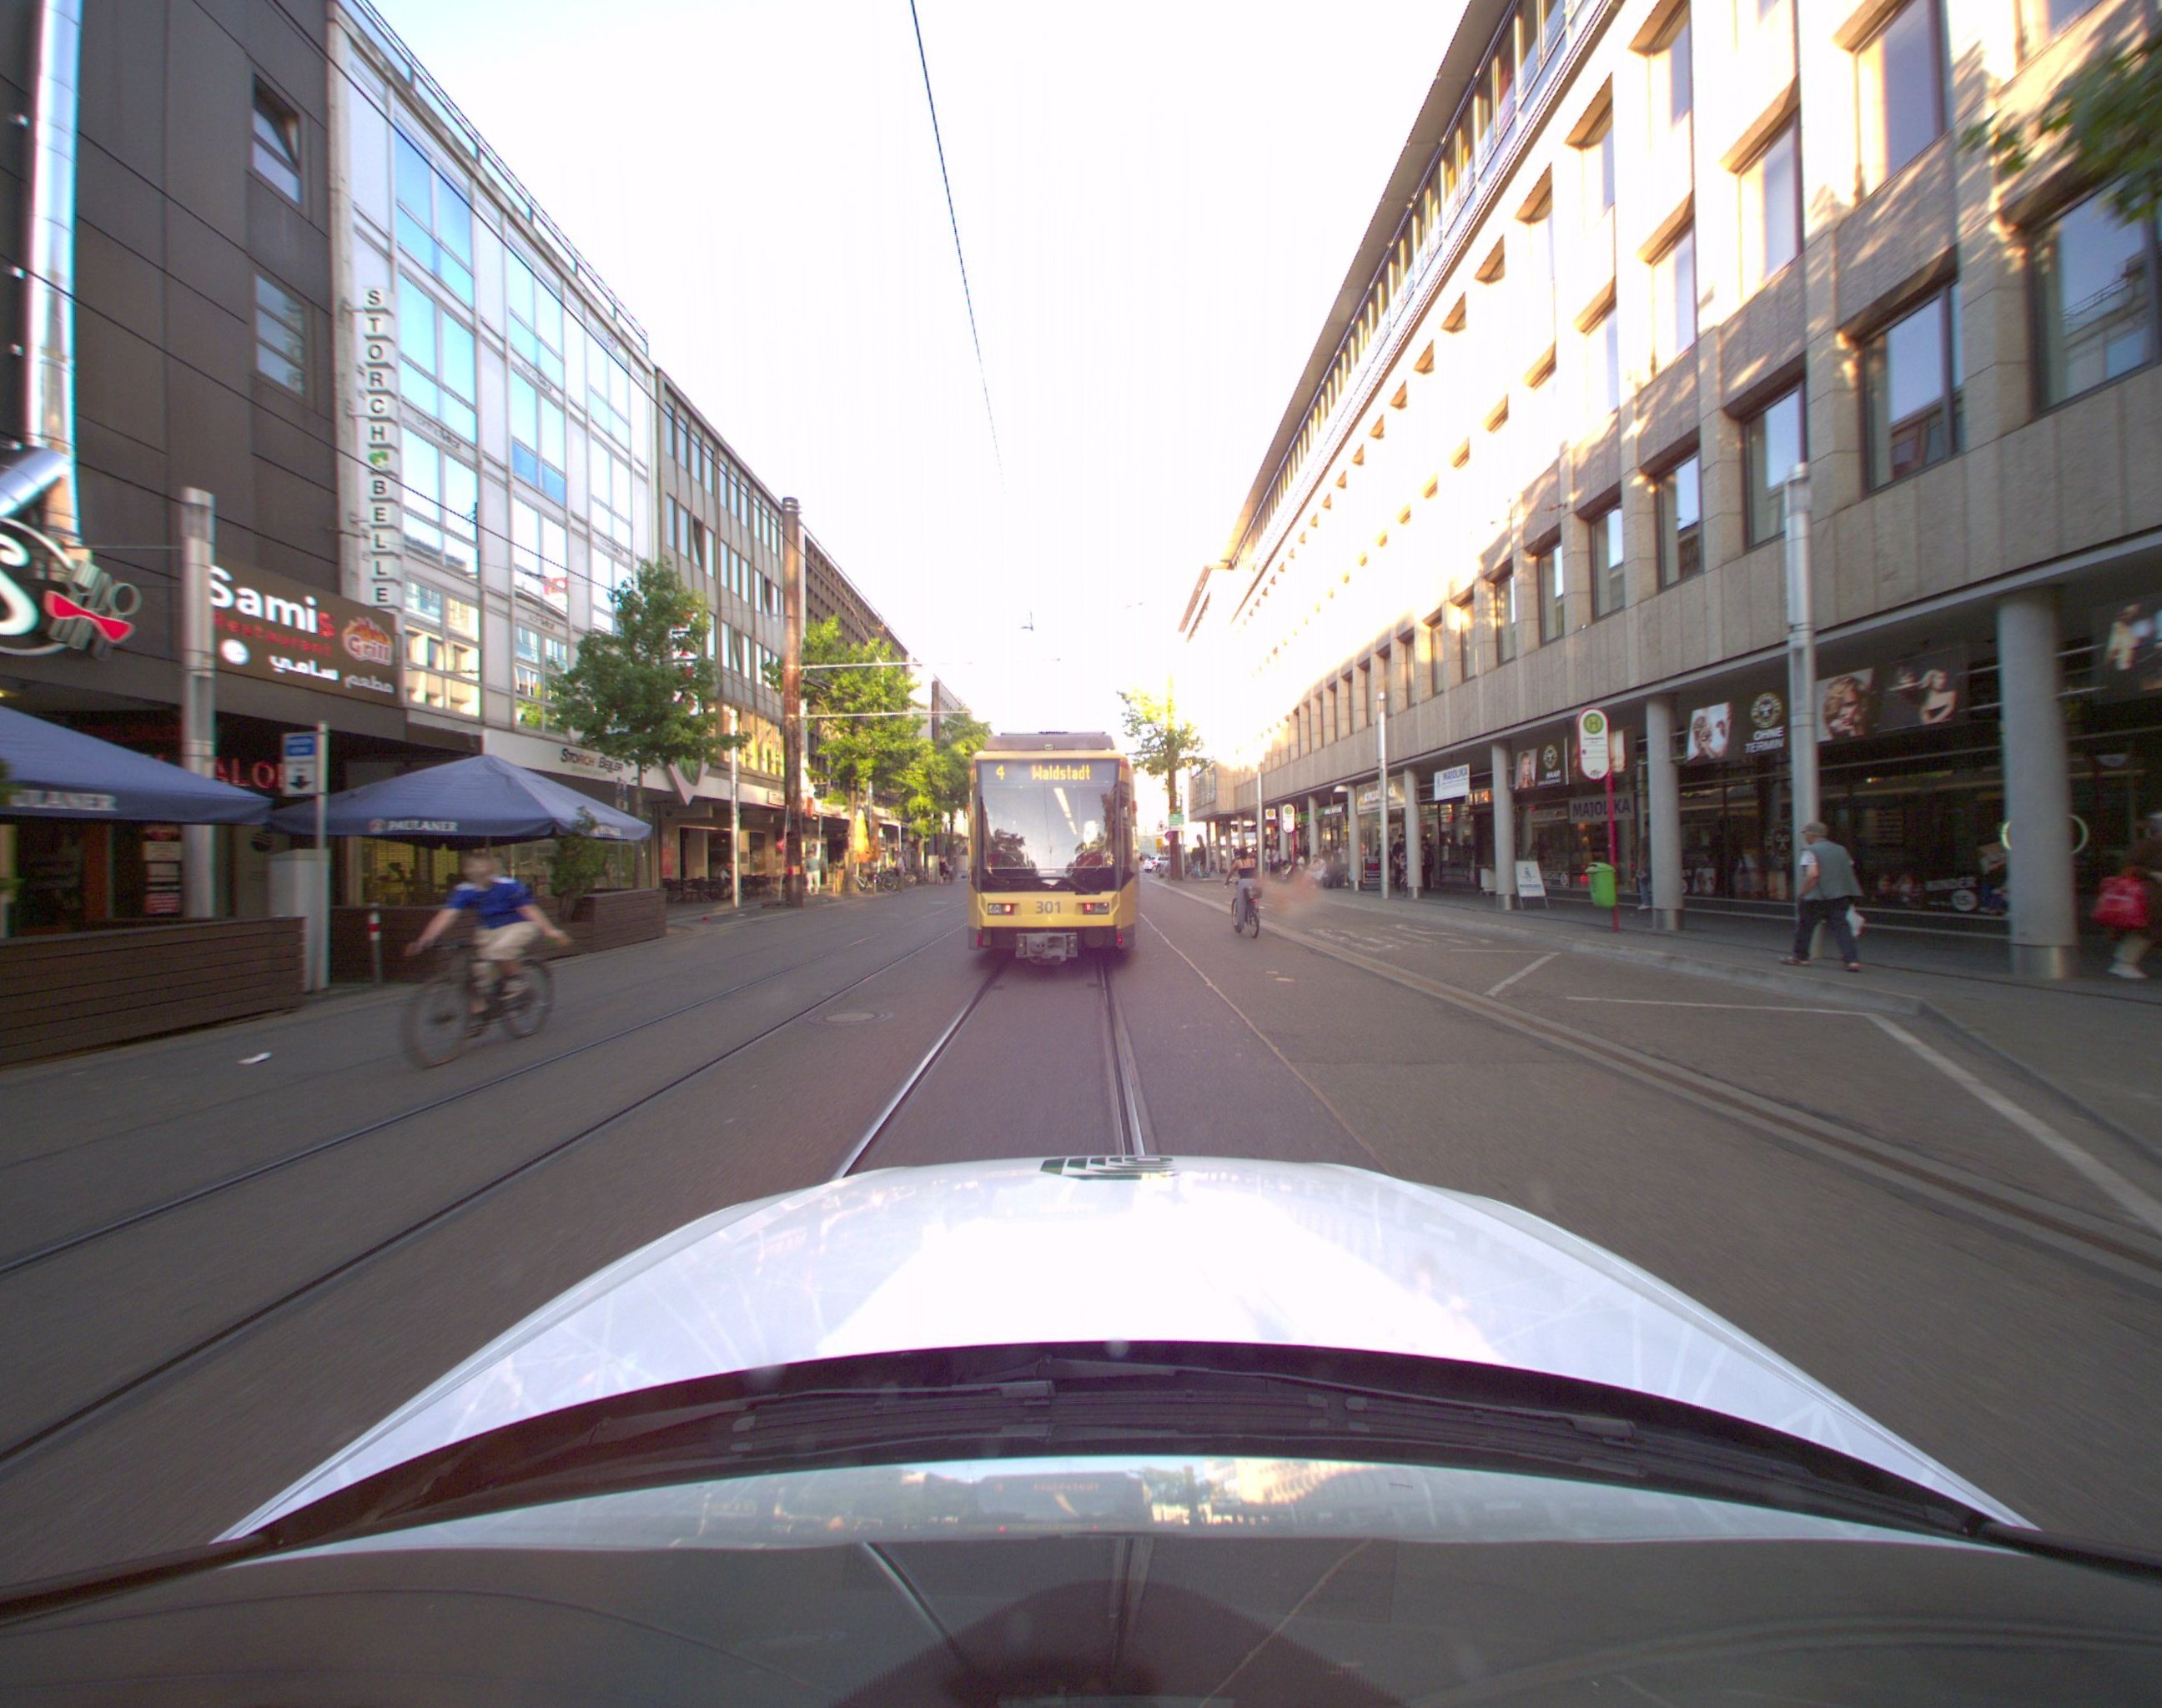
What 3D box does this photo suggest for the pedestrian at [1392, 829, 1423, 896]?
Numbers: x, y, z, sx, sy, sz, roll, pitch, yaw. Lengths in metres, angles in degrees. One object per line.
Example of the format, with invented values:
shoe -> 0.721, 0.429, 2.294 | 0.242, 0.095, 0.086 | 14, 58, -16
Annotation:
pedestrian -> 9.680, 0.250, 24.164 | 0.576, 1.944, 0.655 | -2, -1, 0

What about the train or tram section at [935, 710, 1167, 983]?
train or tram section -> -0.340, -0.096, 17.341 | 2.791, 3.319, 14.506 | -1, 0, 0

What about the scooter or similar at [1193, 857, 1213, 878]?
scooter or similar -> 7.426, 0.814, 49.624 | 1.119, 1.251, 0.492 | -3, 0, -30

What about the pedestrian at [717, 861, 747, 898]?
pedestrian -> -12.751, 0.919, 29.762 | 0.668, 1.325, 0.912 | 1, -1, -1

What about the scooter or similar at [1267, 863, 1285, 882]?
scooter or similar -> 9.019, 0.847, 37.660 | 0.827, 0.884, 0.689 | 0, -1, 14

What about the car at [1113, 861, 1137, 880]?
car -> 3.323, 1.248, 62.121 | 1.763, 1.409, 4.054 | -1, -1, 2

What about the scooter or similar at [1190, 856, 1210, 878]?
scooter or similar -> 7.364, 0.807, 50.425 | 1.195, 1.251, 0.389 | -3, 0, -29

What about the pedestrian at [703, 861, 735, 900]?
pedestrian -> -12.695, 0.909, 28.566 | 0.668, 1.325, 0.912 | 1, -1, -1

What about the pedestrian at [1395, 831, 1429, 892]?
pedestrian -> 10.539, 0.254, 25.966 | 0.704, 1.889, 0.796 | -2, -1, 1

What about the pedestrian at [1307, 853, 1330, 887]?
pedestrian -> 9.183, 0.619, 31.513 | 0.715, 1.314, 0.524 | -1, -1, 2

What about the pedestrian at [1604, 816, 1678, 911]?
pedestrian -> 11.616, 0.195, 16.928 | 0.841, 1.889, 0.899 | -2, -1, 1

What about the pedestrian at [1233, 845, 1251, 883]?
pedestrian -> 7.944, 0.491, 40.108 | 0.666, 1.839, 0.708 | -2, -1, 0

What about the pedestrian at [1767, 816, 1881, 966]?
pedestrian -> 8.148, 0.397, 8.955 | 0.666, 1.588, 0.638 | 0, -1, 0

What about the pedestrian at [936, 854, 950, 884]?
pedestrian -> -8.085, 0.879, 47.856 | 0.595, 1.699, 0.539 | -1, 0, 29

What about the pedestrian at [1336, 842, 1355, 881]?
pedestrian -> 11.867, 0.336, 36.520 | 0.568, 1.731, 0.617 | -2, -1, -1

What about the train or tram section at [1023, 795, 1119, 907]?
train or tram section -> -0.271, -0.091, 31.826 | 2.791, 3.319, 14.506 | -1, 0, 0

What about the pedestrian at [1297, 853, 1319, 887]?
pedestrian -> 8.918, 0.627, 32.057 | 0.715, 1.314, 0.532 | -1, -1, 2

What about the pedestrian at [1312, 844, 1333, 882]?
pedestrian -> 10.883, 0.411, 36.748 | 0.685, 1.661, 0.722 | -2, -1, 2

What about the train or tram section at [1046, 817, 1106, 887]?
train or tram section -> -0.210, -0.087, 46.347 | 2.791, 3.319, 14.506 | -1, 0, 0

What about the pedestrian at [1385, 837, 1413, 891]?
pedestrian -> 10.689, 0.332, 27.416 | 0.580, 1.753, 0.773 | -2, -1, -1

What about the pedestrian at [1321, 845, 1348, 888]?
pedestrian -> 9.448, 0.474, 30.349 | 0.721, 1.570, 0.736 | -2, -1, 2

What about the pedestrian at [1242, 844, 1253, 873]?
pedestrian -> 10.545, 0.314, 51.550 | 0.537, 1.806, 0.604 | -2, -1, -1

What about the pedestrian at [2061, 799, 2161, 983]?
pedestrian -> 10.047, 0.322, 7.640 | 0.745, 1.644, 0.741 | -2, -1, 0

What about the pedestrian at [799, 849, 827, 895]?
pedestrian -> -10.751, 0.727, 32.703 | 0.681, 1.793, 0.991 | 1, -1, 3

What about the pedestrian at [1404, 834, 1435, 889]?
pedestrian -> 11.872, 0.265, 28.595 | 0.685, 1.883, 0.773 | -2, -1, -1

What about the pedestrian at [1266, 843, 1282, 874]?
pedestrian -> 10.423, 0.234, 44.037 | 0.646, 1.661, 0.650 | -2, 0, 1

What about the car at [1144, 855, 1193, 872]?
car -> 7.501, 0.808, 69.757 | 3.912, 1.409, 1.759 | 0, -2, -29

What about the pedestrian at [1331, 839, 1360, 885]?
pedestrian -> 10.683, 0.338, 32.957 | 0.841, 1.797, 0.859 | -2, -1, 1

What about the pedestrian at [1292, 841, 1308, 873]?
pedestrian -> 12.287, 0.167, 45.703 | 0.660, 1.787, 0.719 | -2, -1, 1

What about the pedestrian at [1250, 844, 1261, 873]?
pedestrian -> 11.071, 0.309, 51.638 | 0.537, 1.806, 0.604 | -2, -1, -1

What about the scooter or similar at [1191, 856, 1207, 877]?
scooter or similar -> 7.404, 0.807, 50.976 | 0.388, 1.251, 1.199 | -2, 0, 38

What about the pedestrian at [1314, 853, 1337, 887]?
pedestrian -> 9.657, 0.619, 32.169 | 0.715, 1.314, 0.532 | -1, -1, 2

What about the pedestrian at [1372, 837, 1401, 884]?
pedestrian -> 11.889, 0.244, 31.702 | 0.770, 1.772, 0.773 | -2, -1, -1

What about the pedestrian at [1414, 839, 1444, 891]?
pedestrian -> 11.529, 0.366, 27.019 | 0.645, 1.661, 0.681 | -2, 0, 2
